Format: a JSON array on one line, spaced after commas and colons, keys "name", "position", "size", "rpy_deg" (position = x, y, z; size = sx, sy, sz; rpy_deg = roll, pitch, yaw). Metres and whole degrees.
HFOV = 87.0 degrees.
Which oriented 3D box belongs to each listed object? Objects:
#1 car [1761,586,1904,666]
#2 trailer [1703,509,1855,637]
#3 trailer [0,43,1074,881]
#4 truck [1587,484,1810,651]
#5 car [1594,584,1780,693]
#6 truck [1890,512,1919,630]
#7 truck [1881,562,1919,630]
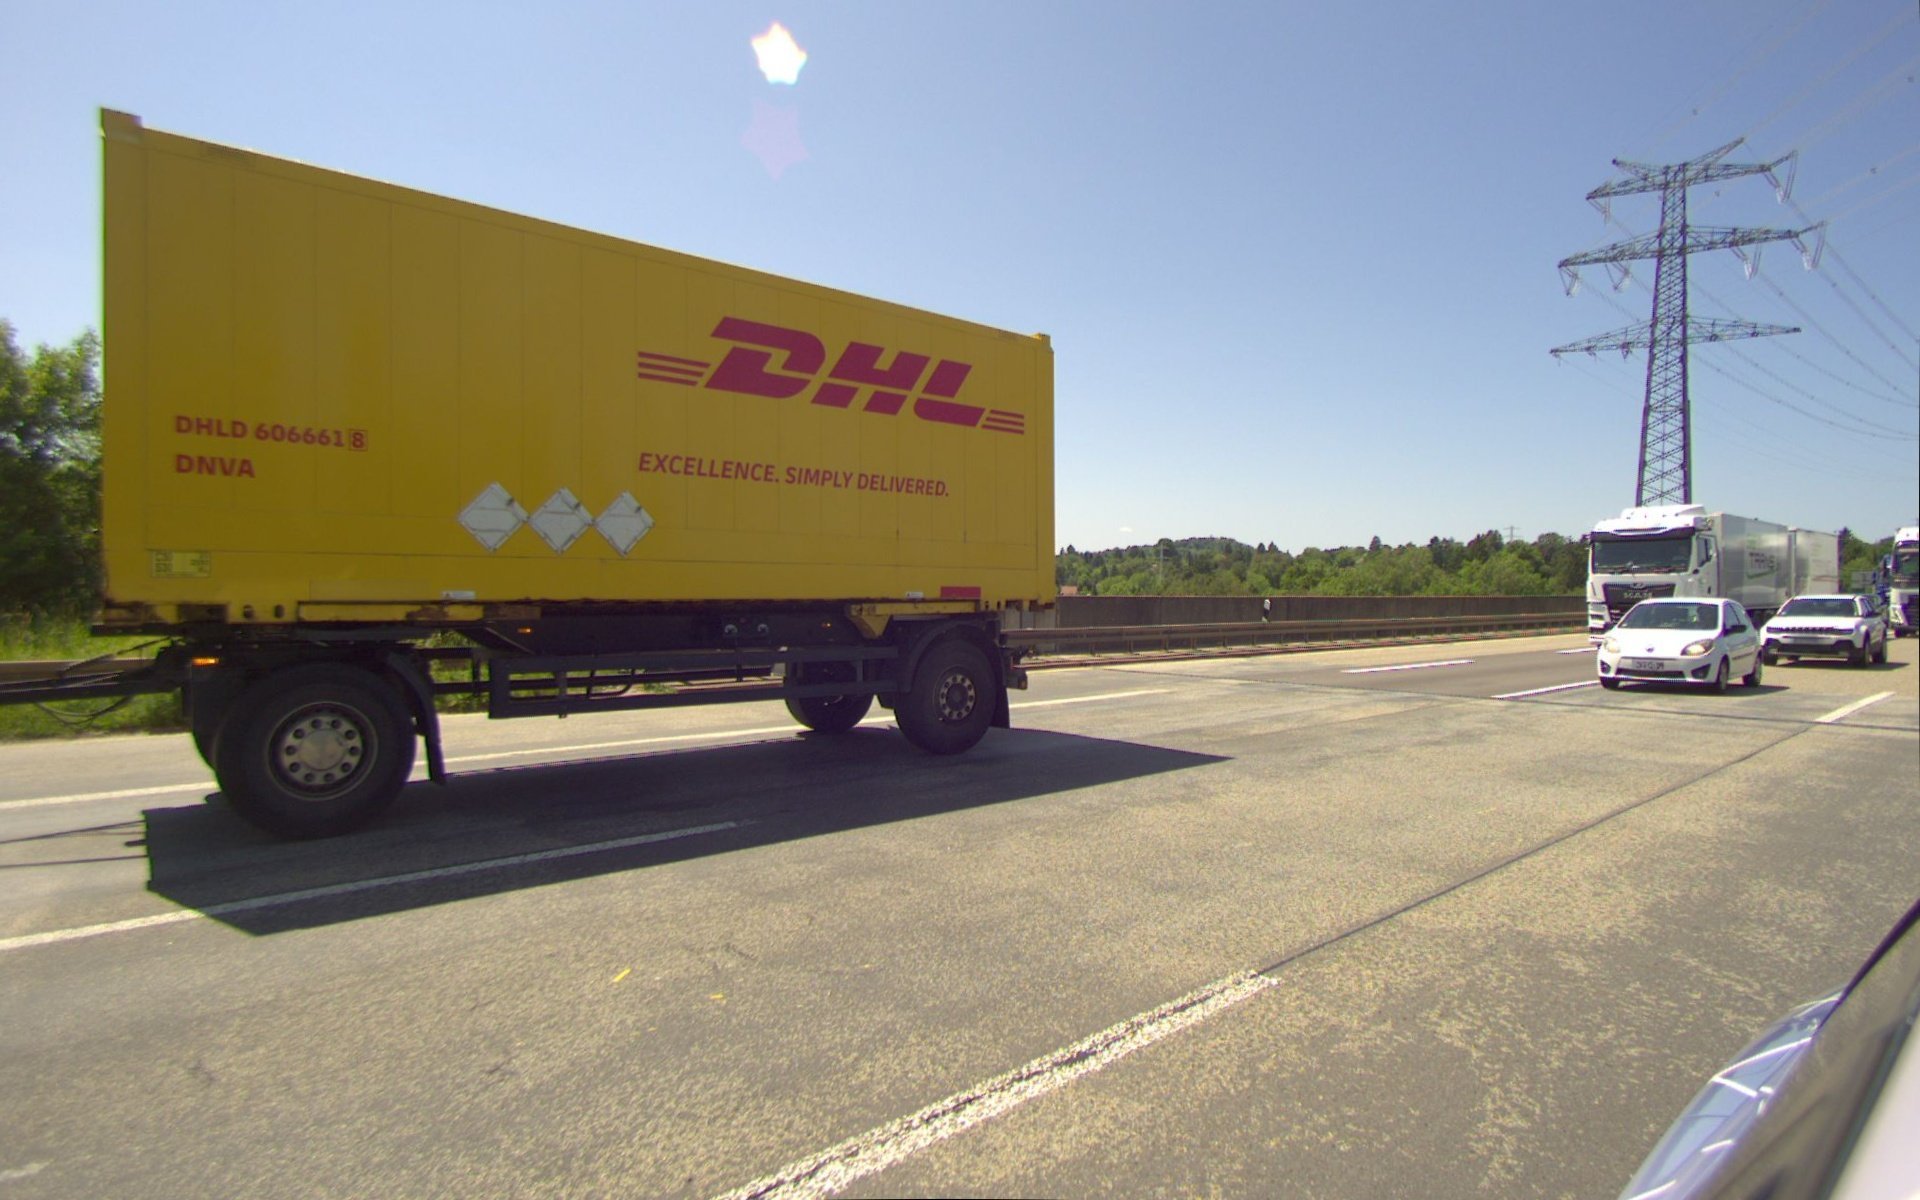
[{"name": "car", "position": [19.137, 0.508, 22.148], "size": [3.784, 1.549, 1.775], "rpy_deg": [-1, 0, -40]}, {"name": "trailer", "position": [28.499, -0.864, 35.084], "size": [7.637, 3.991, 2.750], "rpy_deg": [0, 0, -41]}, {"name": "trailer", "position": [-3.239, -0.712, 8.204], "size": [9.213, 4.170, 2.770], "rpy_deg": [0, 0, -41]}, {"name": "truck", "position": [21.359, -0.817, 28.871], "size": [11.099, 3.980, 2.693], "rpy_deg": [-1, 0, -41]}, {"name": "car", "position": [11.852, 0.539, 16.424], "size": [3.760, 1.529, 1.658], "rpy_deg": [-1, 0, -42]}, {"name": "truck", "position": [39.047, -1.036, 39.158], "size": [14.002, 4.090, 2.716], "rpy_deg": [0, -1, -40]}, {"name": "truck", "position": [59.634, -0.316, 62.469], "size": [11.078, 3.929, 2.838], "rpy_deg": [-1, 0, -41]}]
